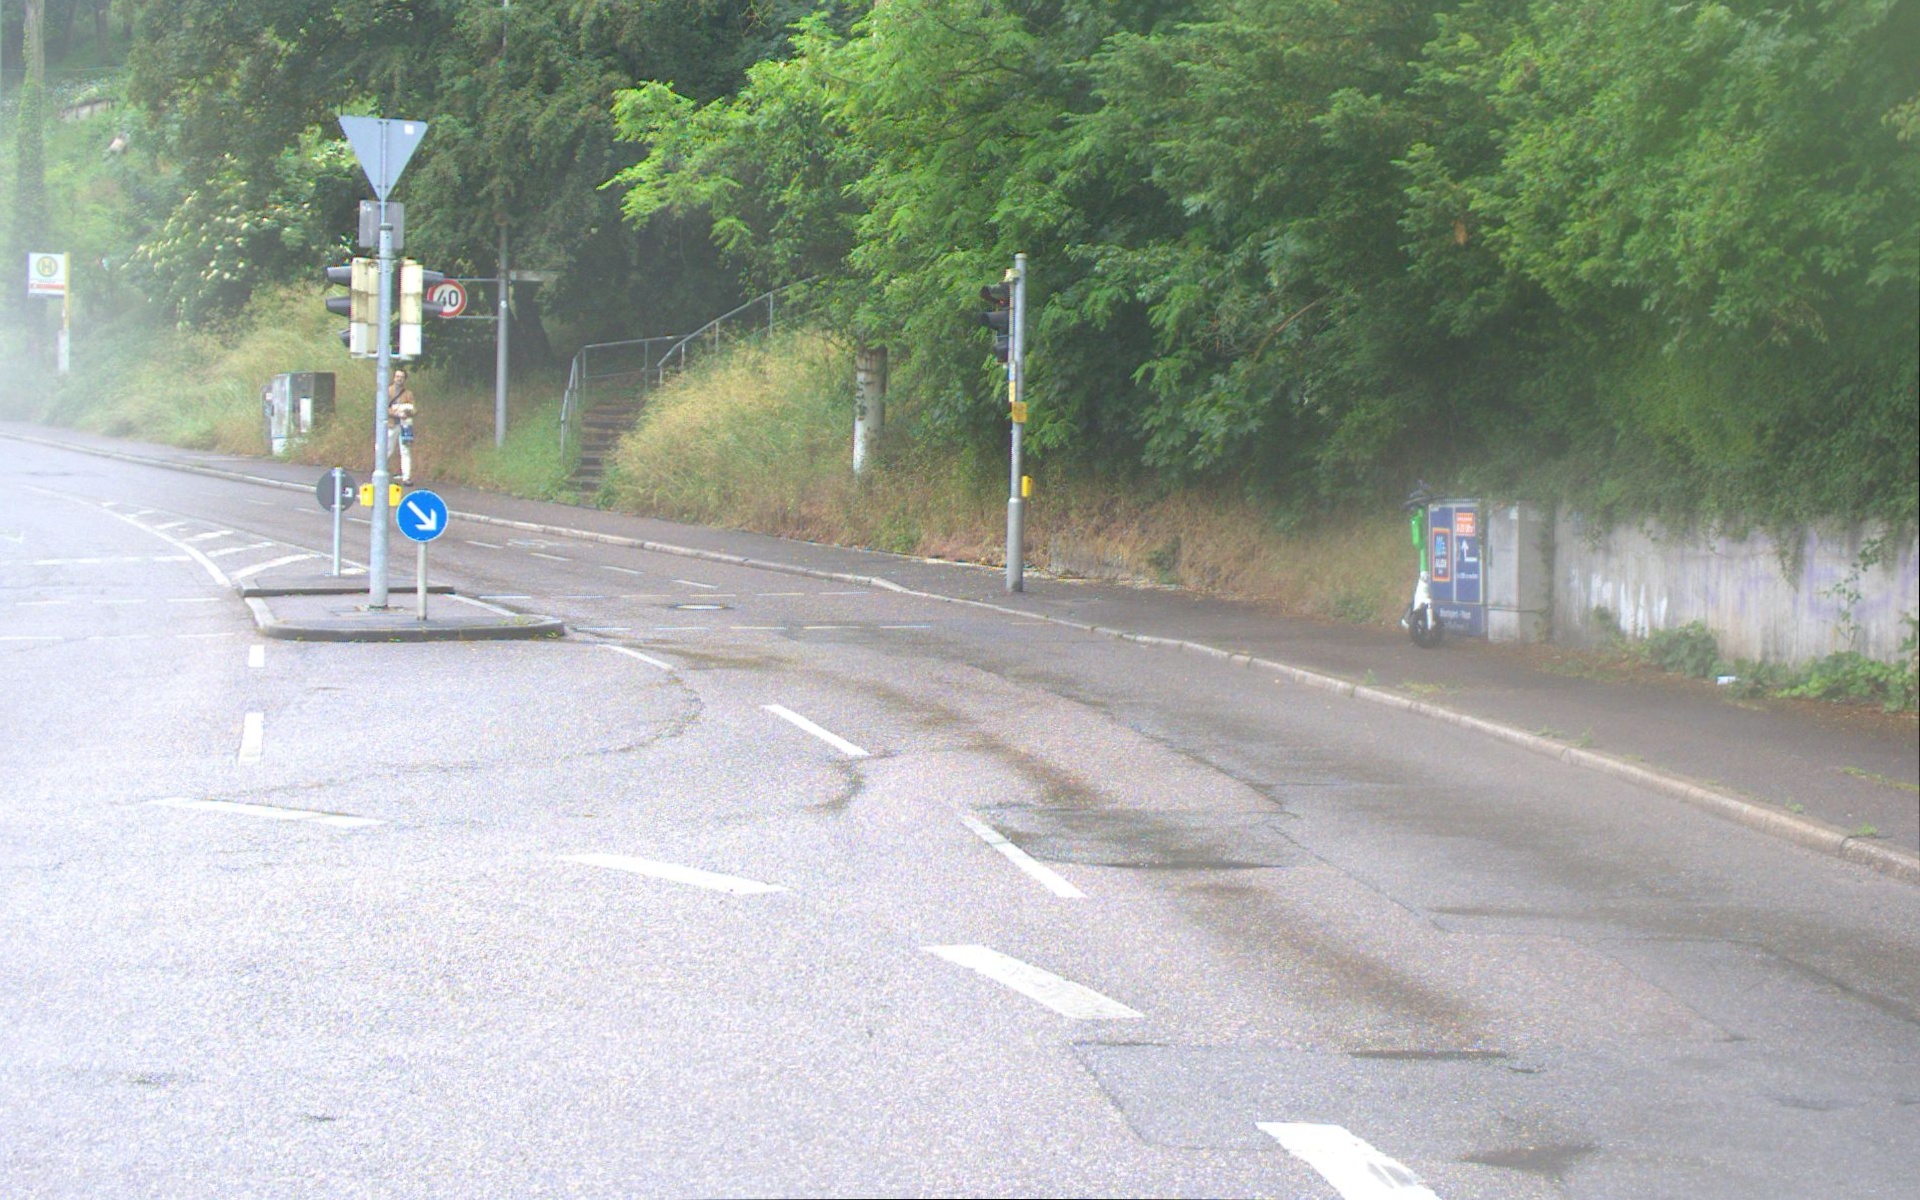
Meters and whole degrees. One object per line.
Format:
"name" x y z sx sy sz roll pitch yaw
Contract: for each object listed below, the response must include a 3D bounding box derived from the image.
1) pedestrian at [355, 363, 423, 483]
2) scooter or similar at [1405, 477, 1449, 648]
"pedestrian" -8.492 -2.621 51.136 0.880 1.730 0.866 0 0 -17
"scooter or similar" 3.594 -0.298 26.480 0.322 1.275 0.751 0 4 7
